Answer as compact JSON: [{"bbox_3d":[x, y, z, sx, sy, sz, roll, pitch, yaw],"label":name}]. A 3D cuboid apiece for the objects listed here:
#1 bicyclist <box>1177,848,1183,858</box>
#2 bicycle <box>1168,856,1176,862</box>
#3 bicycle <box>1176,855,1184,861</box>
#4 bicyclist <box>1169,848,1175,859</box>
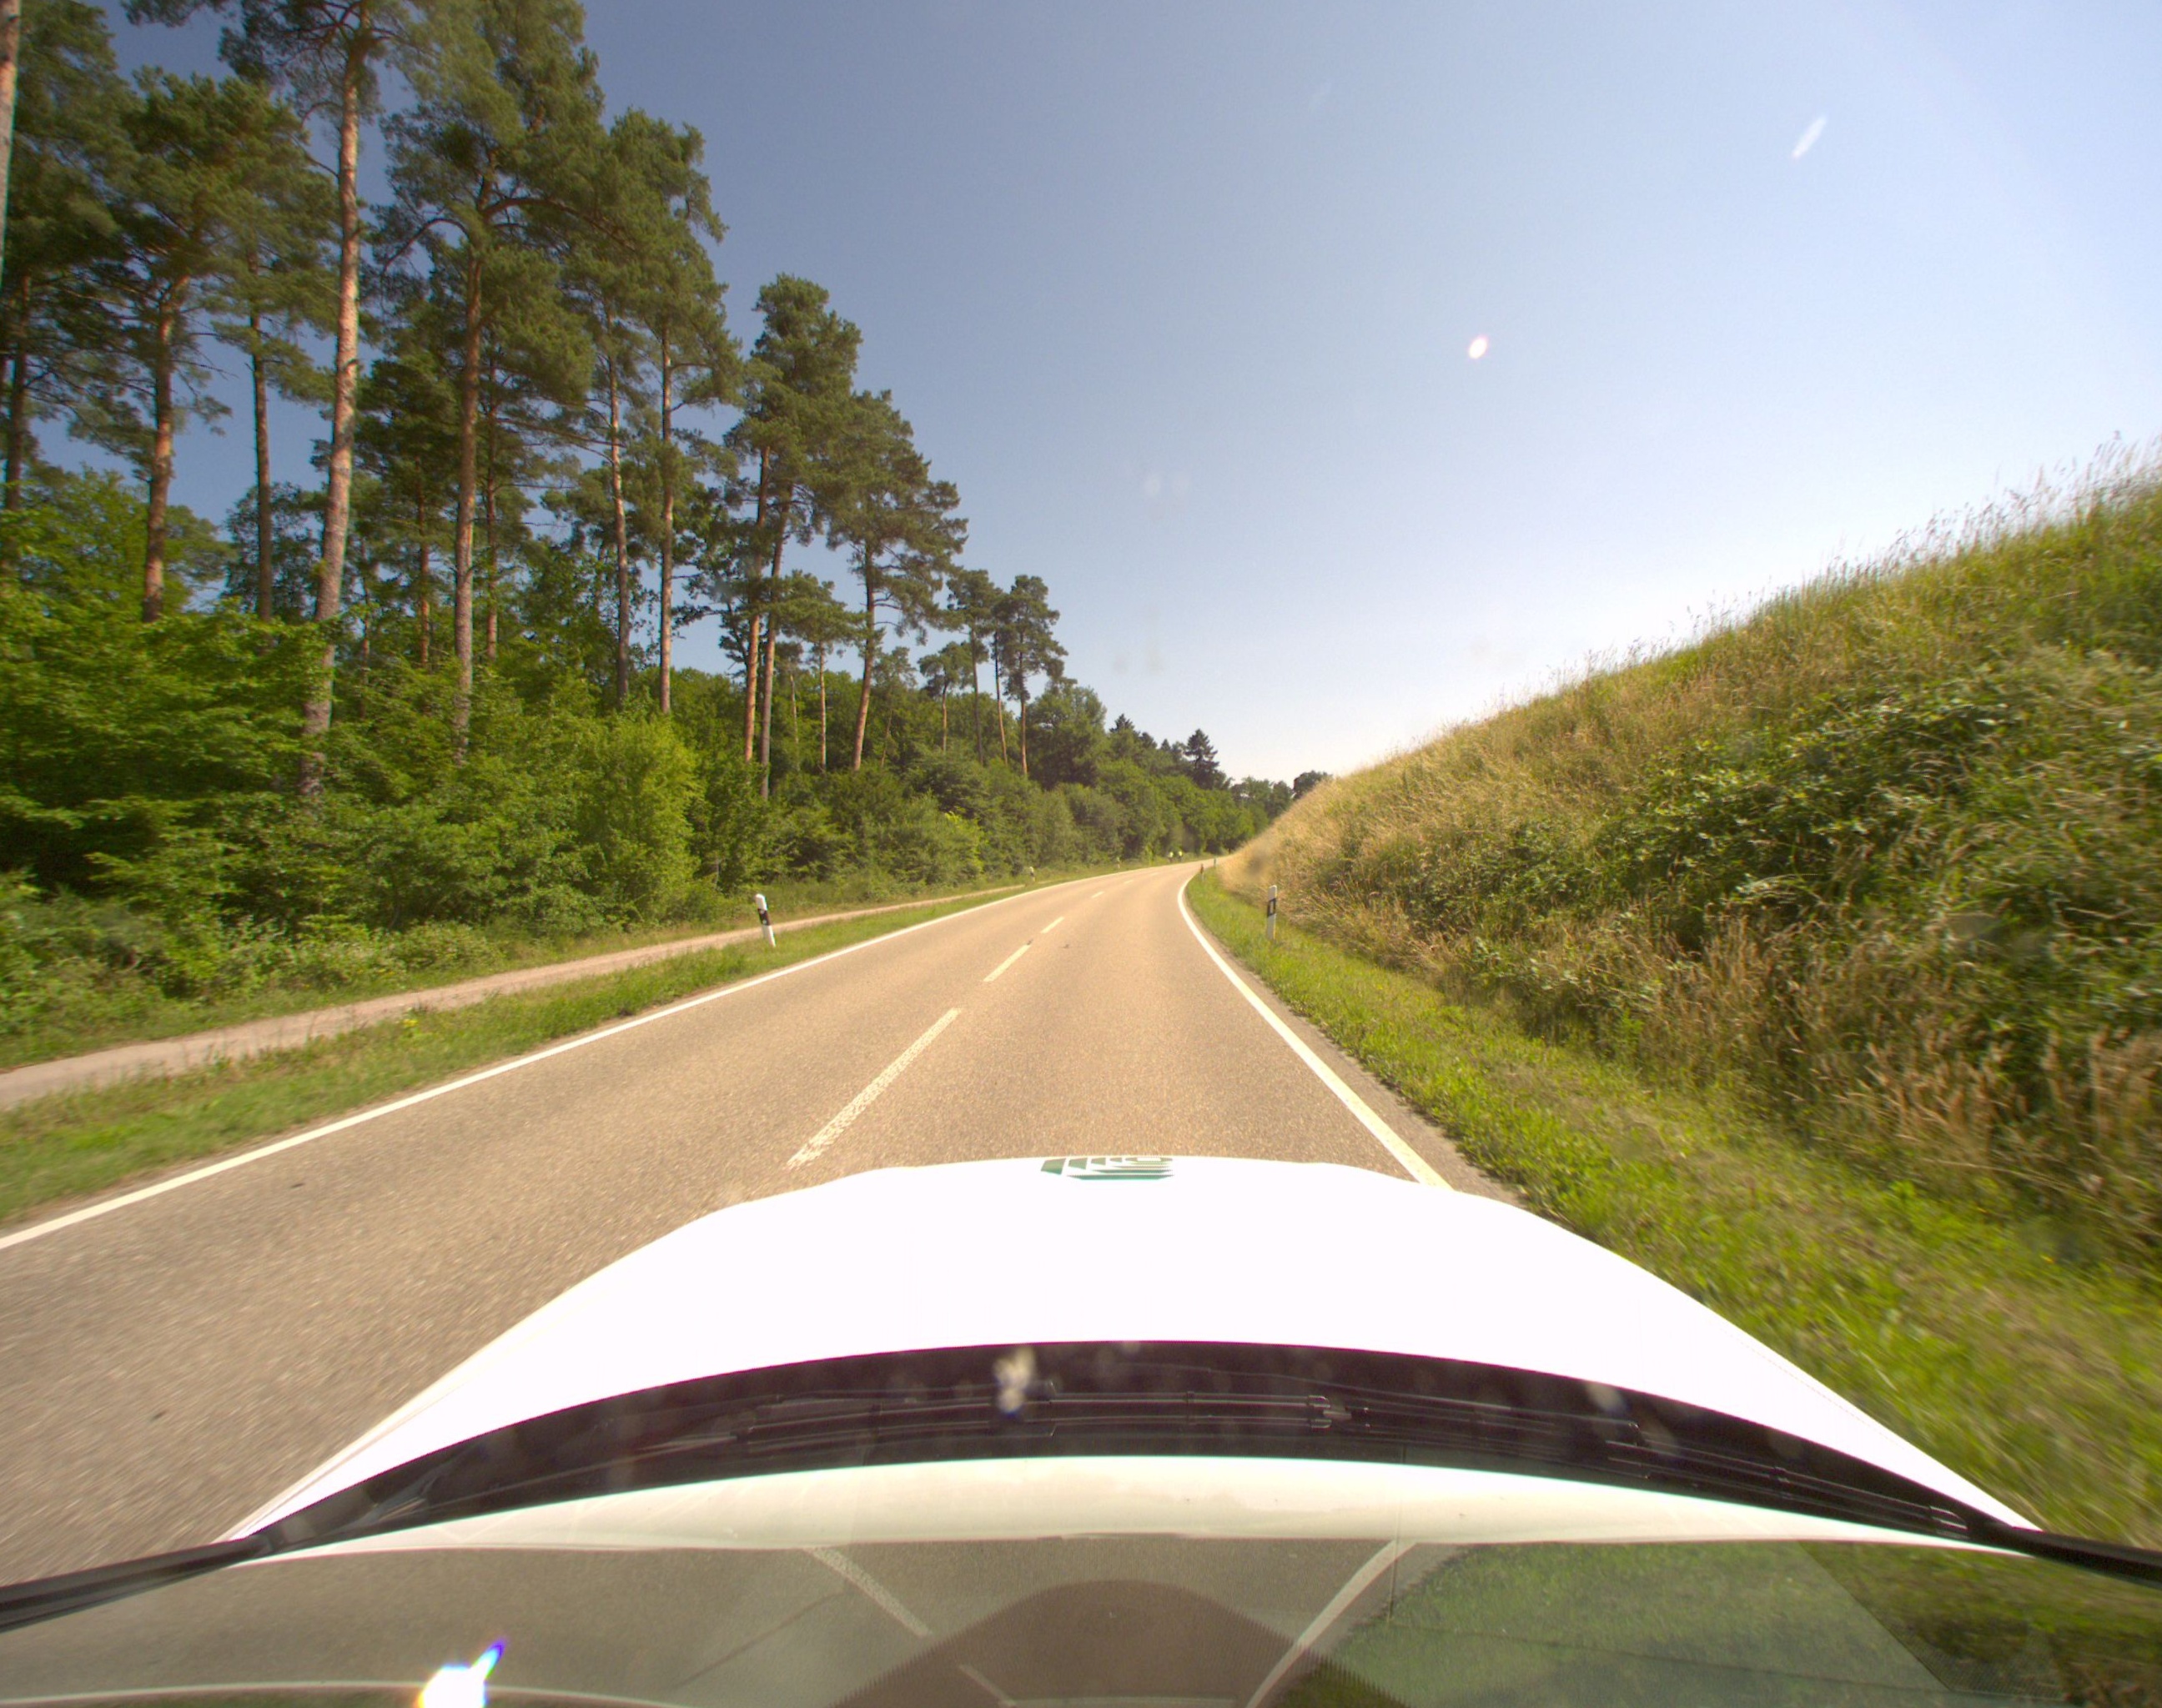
[{"bbox_3d":[13.084,-0.130,108.023,0.600,1.415,0.706,-2,0,17],"label":"bicyclist"},{"bbox_3d":[12.156,0.668,108.810,0.614,0.681,2.146,-3,0,17],"label":"bicycle"},{"bbox_3d":[13.104,0.556,107.943,0.635,0.788,2.146,-3,0,17],"label":"bicycle"},{"bbox_3d":[12.115,-0.105,108.834,0.600,1.415,0.706,-3,0,17],"label":"bicyclist"}]
